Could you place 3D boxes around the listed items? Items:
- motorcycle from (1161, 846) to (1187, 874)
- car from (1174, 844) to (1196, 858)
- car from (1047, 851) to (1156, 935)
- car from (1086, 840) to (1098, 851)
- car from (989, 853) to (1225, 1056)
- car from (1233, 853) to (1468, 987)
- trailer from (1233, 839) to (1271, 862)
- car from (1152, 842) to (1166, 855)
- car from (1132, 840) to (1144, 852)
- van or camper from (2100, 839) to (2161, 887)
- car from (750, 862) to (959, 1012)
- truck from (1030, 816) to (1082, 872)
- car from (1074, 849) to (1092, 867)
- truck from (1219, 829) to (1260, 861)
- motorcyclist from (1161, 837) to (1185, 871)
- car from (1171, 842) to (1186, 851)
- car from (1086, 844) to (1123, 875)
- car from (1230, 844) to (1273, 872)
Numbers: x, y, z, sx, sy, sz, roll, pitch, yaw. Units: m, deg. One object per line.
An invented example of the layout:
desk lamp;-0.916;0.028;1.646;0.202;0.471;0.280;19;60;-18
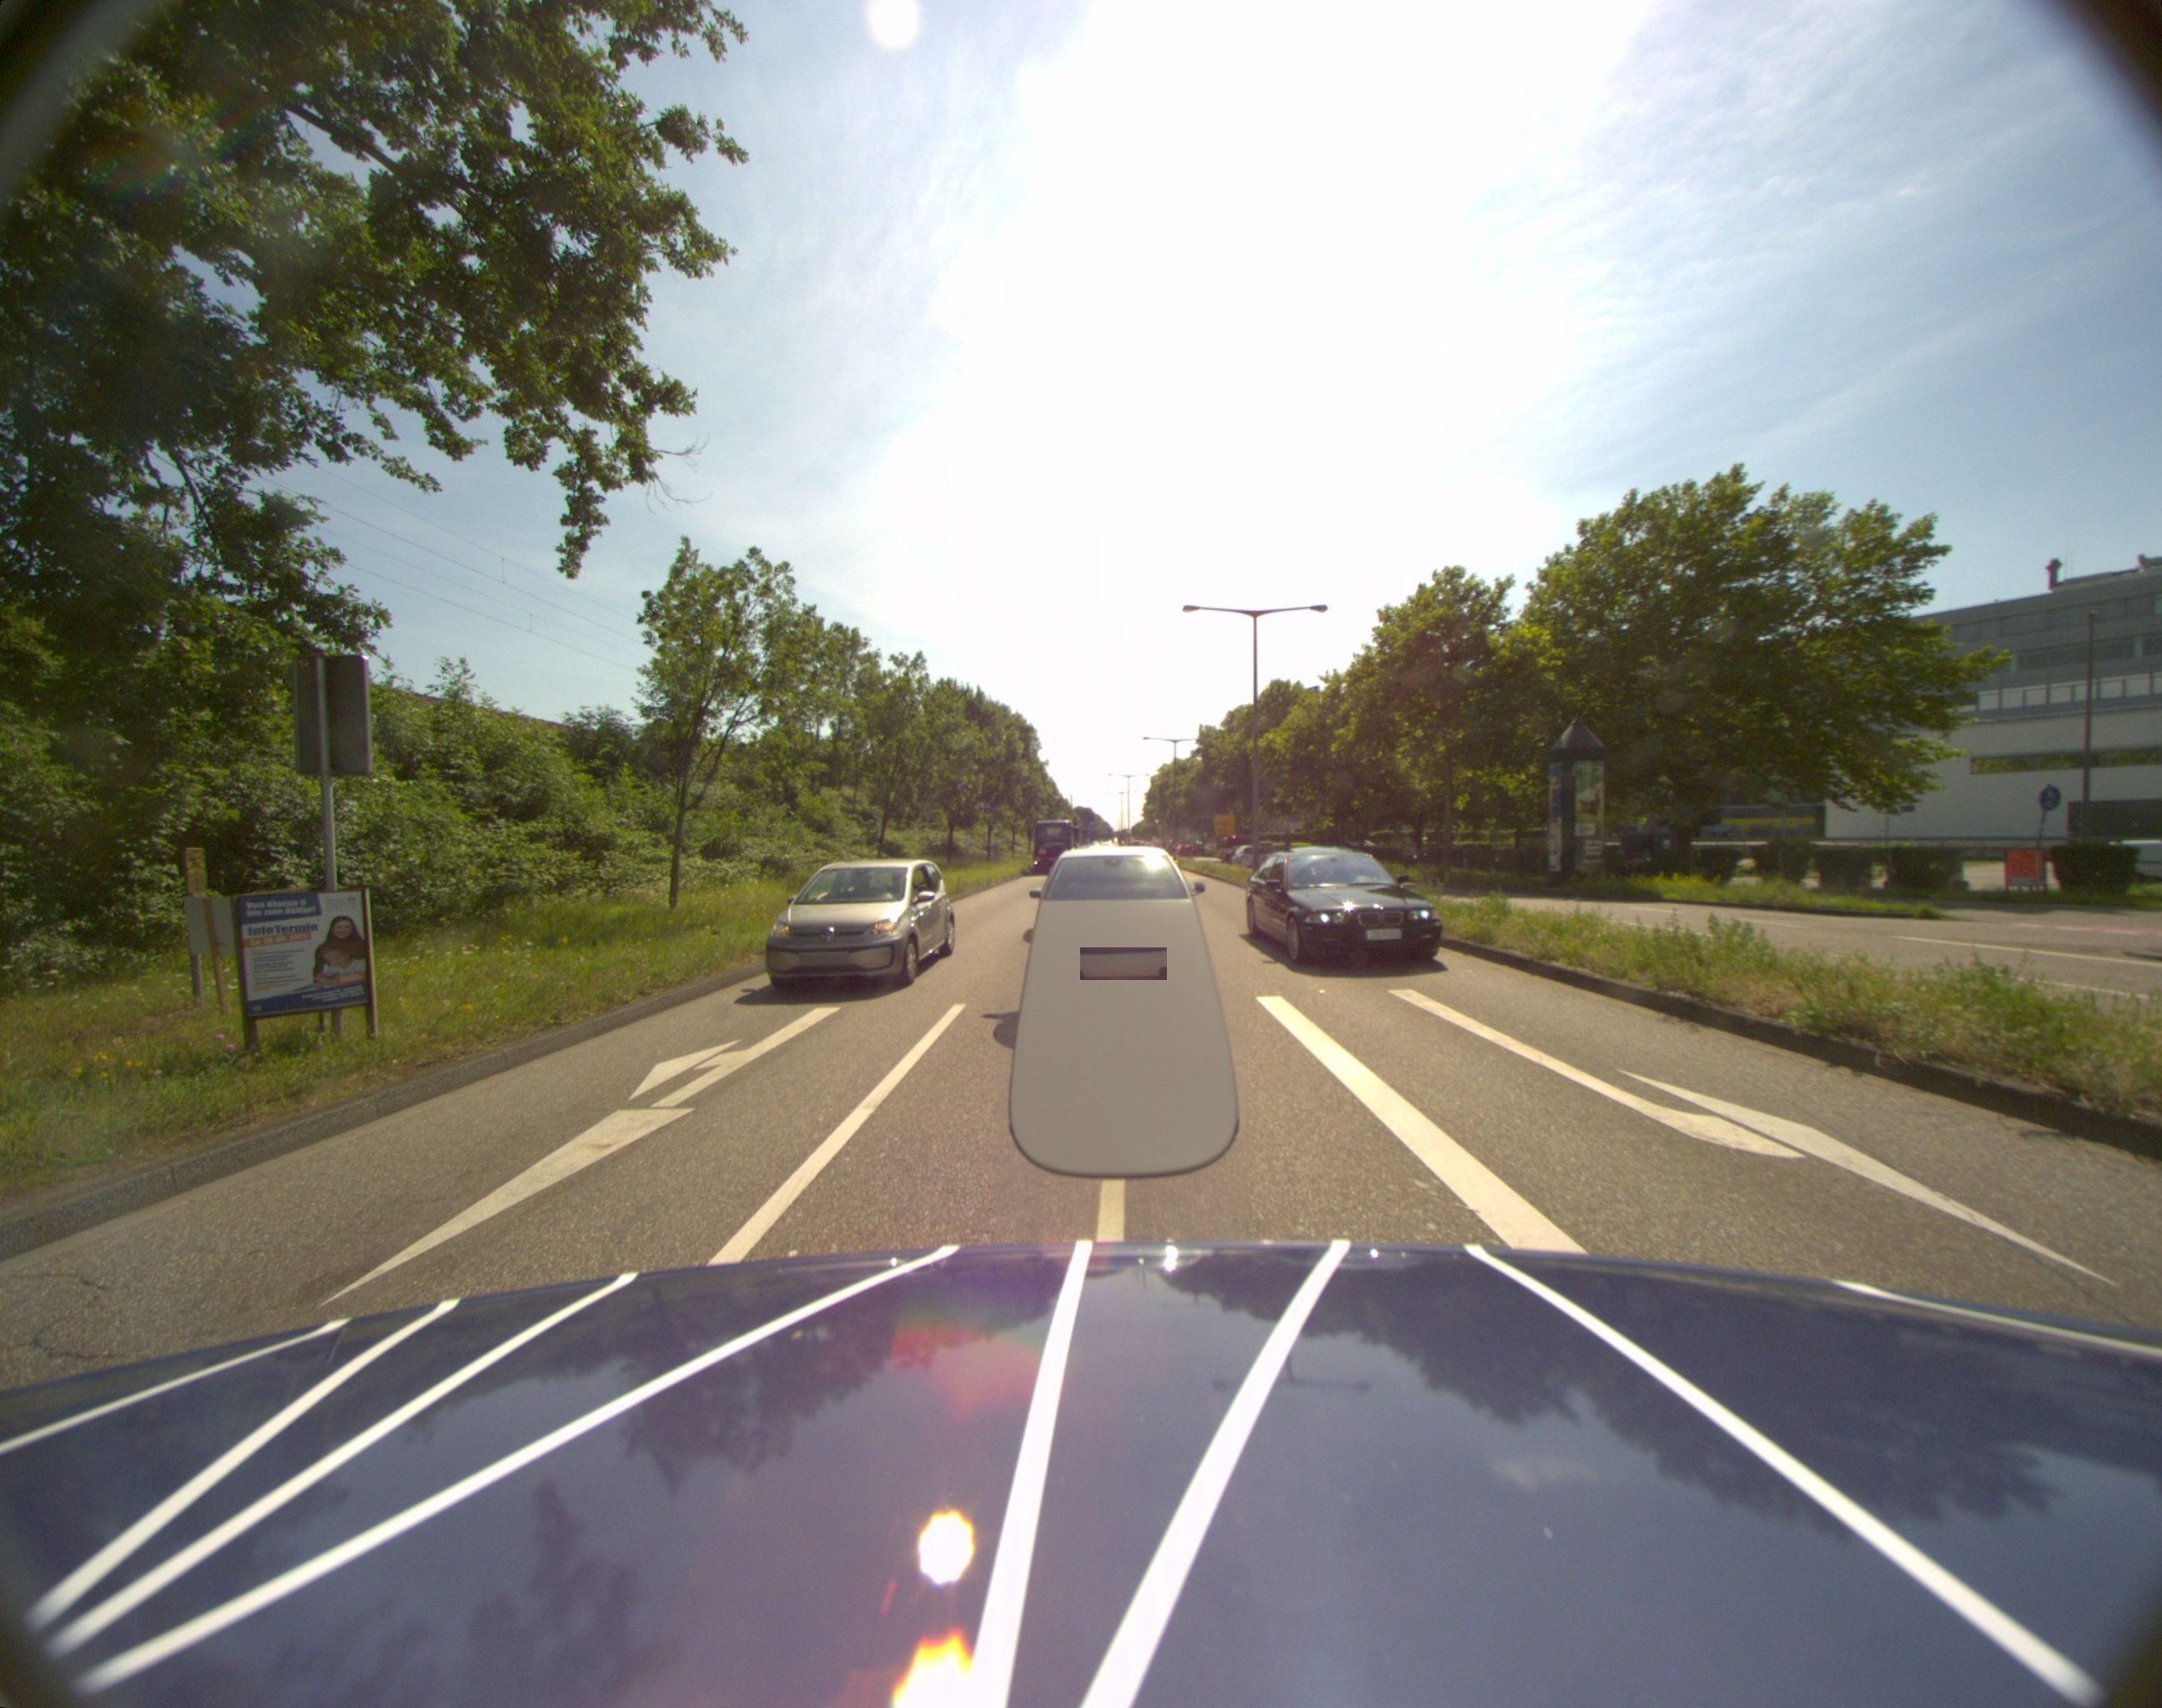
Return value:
motorcycle;4.721;0.274;38.852;1.052;1.343;2.331;-1;1;1
car;11.165;-0.380;81.455;1.852;1.426;3.766;-1;1;0
car;0.425;0.717;16.125;1.998;1.492;4.000;-1;1;1
car;1.963;-1.501;133.863;1.998;2.002;3.999;-1;1;1
car;0.309;0.788;8.315;1.825;1.521;4.751;-1;1;3
car;3.372;0.720;10.371;1.730;1.354;4.066;-2;1;0
trailer;13.120;-0.308;58.472;2.067;1.706;3.990;-1;1;1
car;12.878;-0.939;125.873;1.998;2.002;4.000;-1;1;1
car;10.370;-1.482;137.994;1.998;2.002;4.000;-1;1;1
van or camper;39.740;0.316;26.803;2.004;1.682;4.500;-2;1;-36
car;-2.719;0.912;9.993;1.705;1.429;3.677;-2;1;-2
truck;-1.483;-0.660;48.179;2.775;3.248;7.482;-1;1;2
car;0.274;0.476;88.453;1.998;2.002;3.999;-1;1;1
truck;13.232;-0.770;64.086;2.144;2.461;7.128;-1;1;2
motorcyclist;4.700;-0.013;38.820;1.066;1.689;1.042;-1;1;0
car;15.762;-1.262;122.642;1.844;1.414;4.221;1;1;1
car;1.249;0.237;40.071;1.825;1.521;4.547;-1;1;3
car;9.562;0.198;42.828;1.653;1.505;3.735;-1;1;1
